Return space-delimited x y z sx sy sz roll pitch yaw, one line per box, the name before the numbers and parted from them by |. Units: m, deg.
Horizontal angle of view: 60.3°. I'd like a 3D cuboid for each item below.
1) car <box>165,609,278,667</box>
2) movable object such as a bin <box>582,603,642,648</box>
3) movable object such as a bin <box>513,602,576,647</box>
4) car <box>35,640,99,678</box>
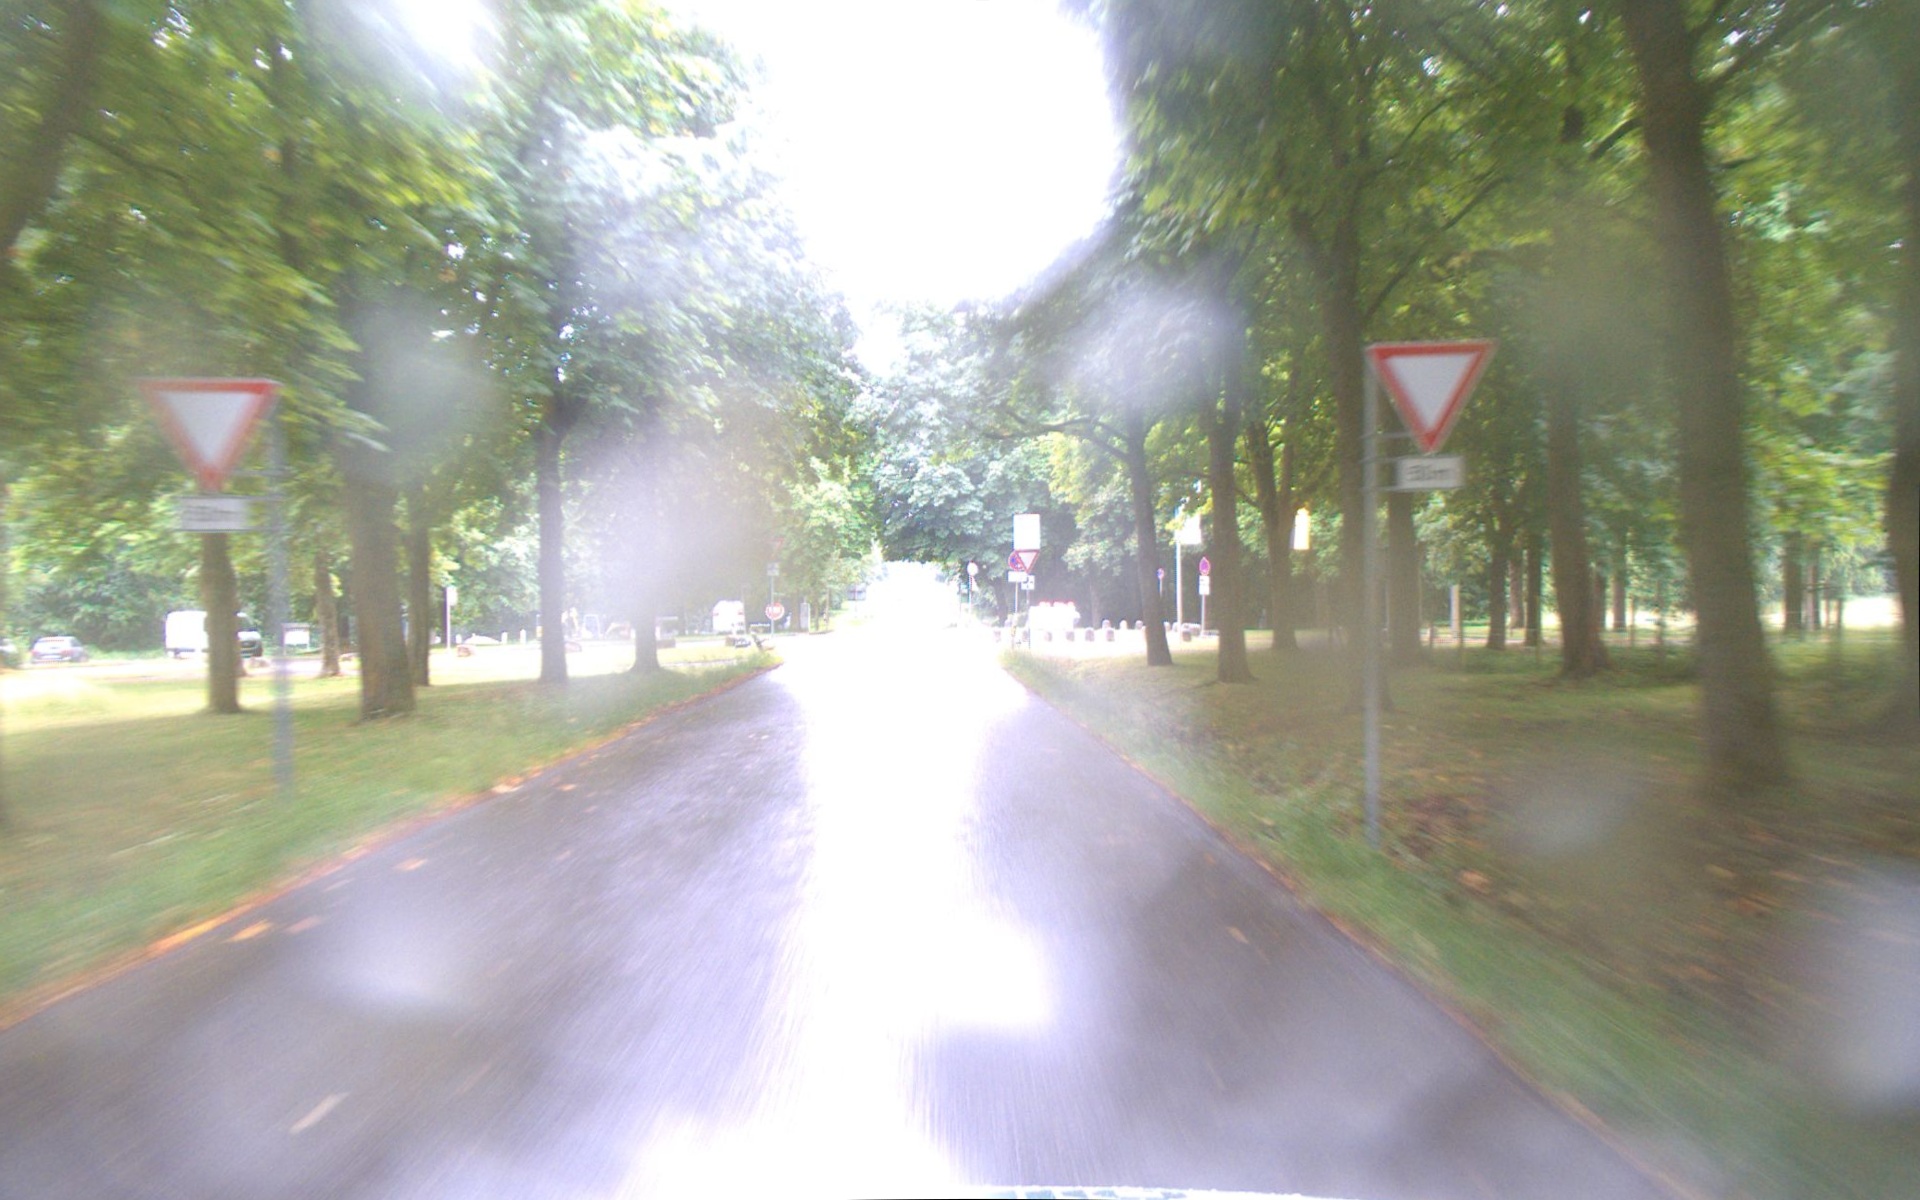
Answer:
car | -33.279 1.724 74.462 5.872 2.450 2.380 -3 -3 40
movable object such as a bin | -27.441 1.978 130.546 4.502 3.352 3.654 -2 -1 -13
movable object such as a bin | -32.312 1.901 128.757 4.574 3.352 3.901 -2 -1 -13
car | -37.616 2.476 69.763 1.737 1.454 4.083 -1 -1 -20
